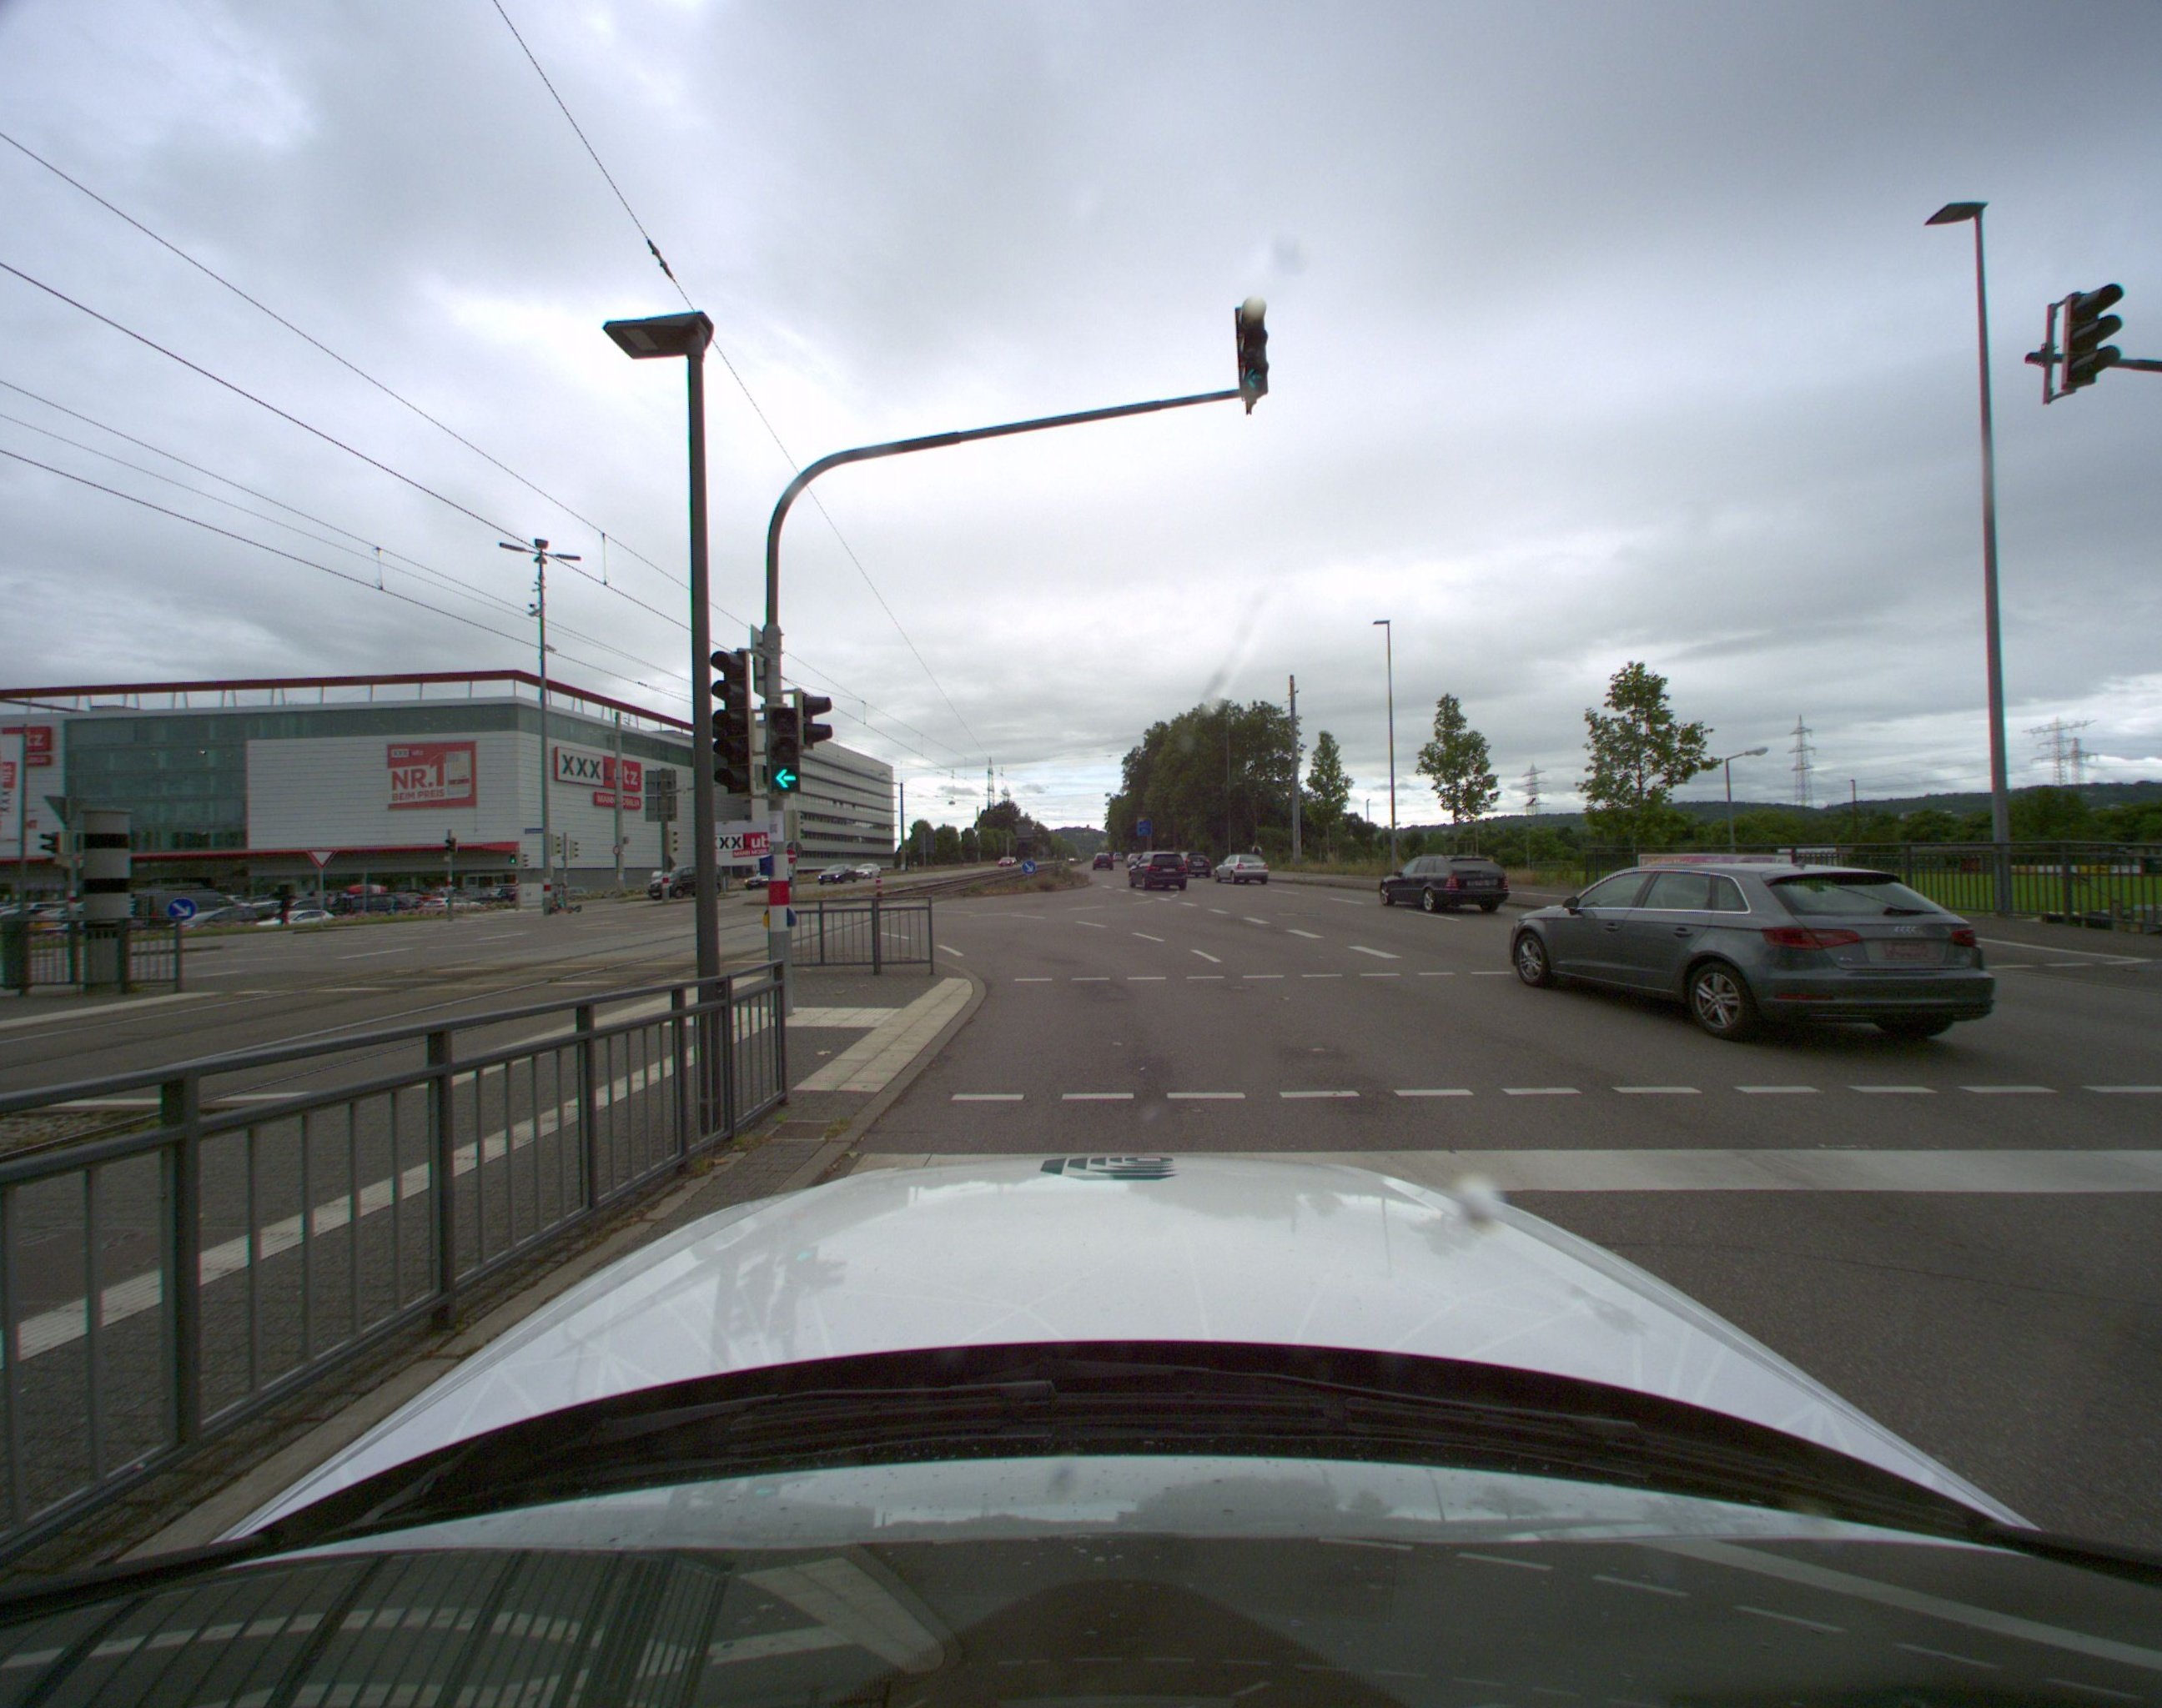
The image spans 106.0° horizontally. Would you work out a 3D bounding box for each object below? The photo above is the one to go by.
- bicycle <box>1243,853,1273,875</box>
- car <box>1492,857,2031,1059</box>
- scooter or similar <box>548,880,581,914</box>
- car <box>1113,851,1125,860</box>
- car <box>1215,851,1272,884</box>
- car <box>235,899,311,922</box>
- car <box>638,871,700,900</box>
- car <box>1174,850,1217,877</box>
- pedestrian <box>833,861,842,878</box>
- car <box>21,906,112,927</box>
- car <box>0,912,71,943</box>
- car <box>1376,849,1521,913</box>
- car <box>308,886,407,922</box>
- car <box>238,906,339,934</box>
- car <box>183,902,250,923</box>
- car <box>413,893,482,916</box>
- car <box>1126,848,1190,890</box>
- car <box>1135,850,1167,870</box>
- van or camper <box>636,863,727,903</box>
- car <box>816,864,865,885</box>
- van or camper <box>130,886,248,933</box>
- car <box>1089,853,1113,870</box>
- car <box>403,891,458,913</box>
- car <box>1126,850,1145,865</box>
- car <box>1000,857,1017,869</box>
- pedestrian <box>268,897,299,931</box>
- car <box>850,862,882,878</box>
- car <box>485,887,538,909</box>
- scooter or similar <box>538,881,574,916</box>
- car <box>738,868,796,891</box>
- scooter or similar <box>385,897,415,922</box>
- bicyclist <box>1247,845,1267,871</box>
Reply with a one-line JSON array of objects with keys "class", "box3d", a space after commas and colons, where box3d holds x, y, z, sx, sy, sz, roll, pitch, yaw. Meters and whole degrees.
[{"class": "bicycle", "box3d": [10.341, 0.568, 47.704, 0.816, 1.185, 2.515, -3, 1, -8]}, {"class": "car", "box3d": [5.937, 0.753, 7.892, 1.733, 1.401, 4.073, -1, 0, -2]}, {"class": "scooter or similar", "box3d": [-20.785, 1.727, 32.808, 0.317, 1.256, 1.121, -4, 0, 17]}, {"class": "car", "box3d": [6.483, 0.245, 138.387, 1.809, 1.481, 3.671, 0, -1, 0]}, {"class": "car", "box3d": [7.913, 0.617, 40.009, 1.726, 1.509, 3.624, 0, 0, -7]}, {"class": "car", "box3d": [-64.140, 4.495, 64.700, 1.840, 1.556, 4.005, -3, -1, 5]}, {"class": "car", "box3d": [-45.238, 3.413, 89.691, 2.746, 2.990, 6.960, 0, -1, 5]}, {"class": "car", "box3d": [7.010, 0.593, 50.310, 1.852, 1.562, 4.311, 1, -1, -3]}, {"class": "pedestrian", "box3d": [-26.547, 1.672, 88.865, 0.634, 1.791, 0.702, -1, -2, 32]}, {"class": "car", "box3d": [-81.012, 4.963, 65.130, 1.725, 1.469, 4.260, -1, -1, 6]}, {"class": "car", "box3d": [-65.083, 4.518, 49.659, 1.799, 1.643, 4.010, -3, -1, 9]}, {"class": "car", "box3d": [9.445, 0.636, 21.354, 1.731, 1.479, 4.315, 0, 0, -2]}, {"class": "car", "box3d": [-52.050, 3.577, 58.715, 2.103, 2.165, 5.065, -3, 0, 9]}, {"class": "car", "box3d": [-47.295, 3.908, 48.732, 1.862, 1.446, 4.123, 0, -1, 3]}, {"class": "car", "box3d": [-80.130, 5.385, 75.579, 1.821, 1.655, 4.002, -3, -1, 3]}, {"class": "car", "box3d": [-49.374, 3.906, 63.590, 1.731, 1.476, 4.218, -3, -1, 6]}, {"class": "car", "box3d": [3.218, 0.628, 34.755, 1.830, 1.636, 4.306, -1, 0, -7]}, {"class": "car", "box3d": [5.692, 0.479, 66.844, 1.854, 1.562, 4.309, 1, -1, -5]}, {"class": "van or camper", "box3d": [-24.283, 1.702, 49.759, 2.100, 2.013, 4.776, -5, 0, 18]}, {"class": "car", "box3d": [-17.894, 1.518, 60.703, 1.820, 1.464, 4.218, -1, 0, 9]}, {"class": "van or camper", "box3d": [-64.188, 3.898, 58.755, 1.971, 2.984, 5.416, -3, -1, 12]}, {"class": "car", "box3d": [1.723, 0.611, 70.372, 1.743, 1.431, 3.370, 0, 0, -4]}, {"class": "car", "box3d": [-63.413, 4.656, 79.427, 1.805, 1.818, 4.007, -3, 0, 6]}, {"class": "car", "box3d": [5.646, 0.368, 84.603, 1.809, 1.481, 3.671, 0, -1, 0]}, {"class": "car", "box3d": [-11.021, 1.323, 124.228, 1.985, 1.728, 4.003, 0, 0, 3]}, {"class": "pedestrian", "box3d": [-40.370, 3.043, 41.223, 0.711, 1.597, 0.784, -5, -1, 3]}, {"class": "car", "box3d": [-20.639, 1.513, 78.194, 1.720, 1.539, 4.050, 0, 0, 4]}, {"class": "car", "box3d": [-55.567, 4.268, 79.533, 1.934, 1.929, 4.007, -3, 0, 6]}, {"class": "scooter or similar", "box3d": [-20.411, 1.707, 31.672, 0.459, 1.256, 1.023, -5, 0, 17]}, {"class": "car", "box3d": [-22.397, 1.808, 58.294, 1.951, 1.464, 4.333, -1, 0, 9]}, {"class": "scooter or similar", "box3d": [-36.258, 2.958, 43.345, 1.170, 1.233, 0.342, -2, -3, -35]}, {"class": "bicyclist", "box3d": [10.297, 0.214, 47.642, 0.816, 1.478, 0.997, -3, 1, -9]}]
